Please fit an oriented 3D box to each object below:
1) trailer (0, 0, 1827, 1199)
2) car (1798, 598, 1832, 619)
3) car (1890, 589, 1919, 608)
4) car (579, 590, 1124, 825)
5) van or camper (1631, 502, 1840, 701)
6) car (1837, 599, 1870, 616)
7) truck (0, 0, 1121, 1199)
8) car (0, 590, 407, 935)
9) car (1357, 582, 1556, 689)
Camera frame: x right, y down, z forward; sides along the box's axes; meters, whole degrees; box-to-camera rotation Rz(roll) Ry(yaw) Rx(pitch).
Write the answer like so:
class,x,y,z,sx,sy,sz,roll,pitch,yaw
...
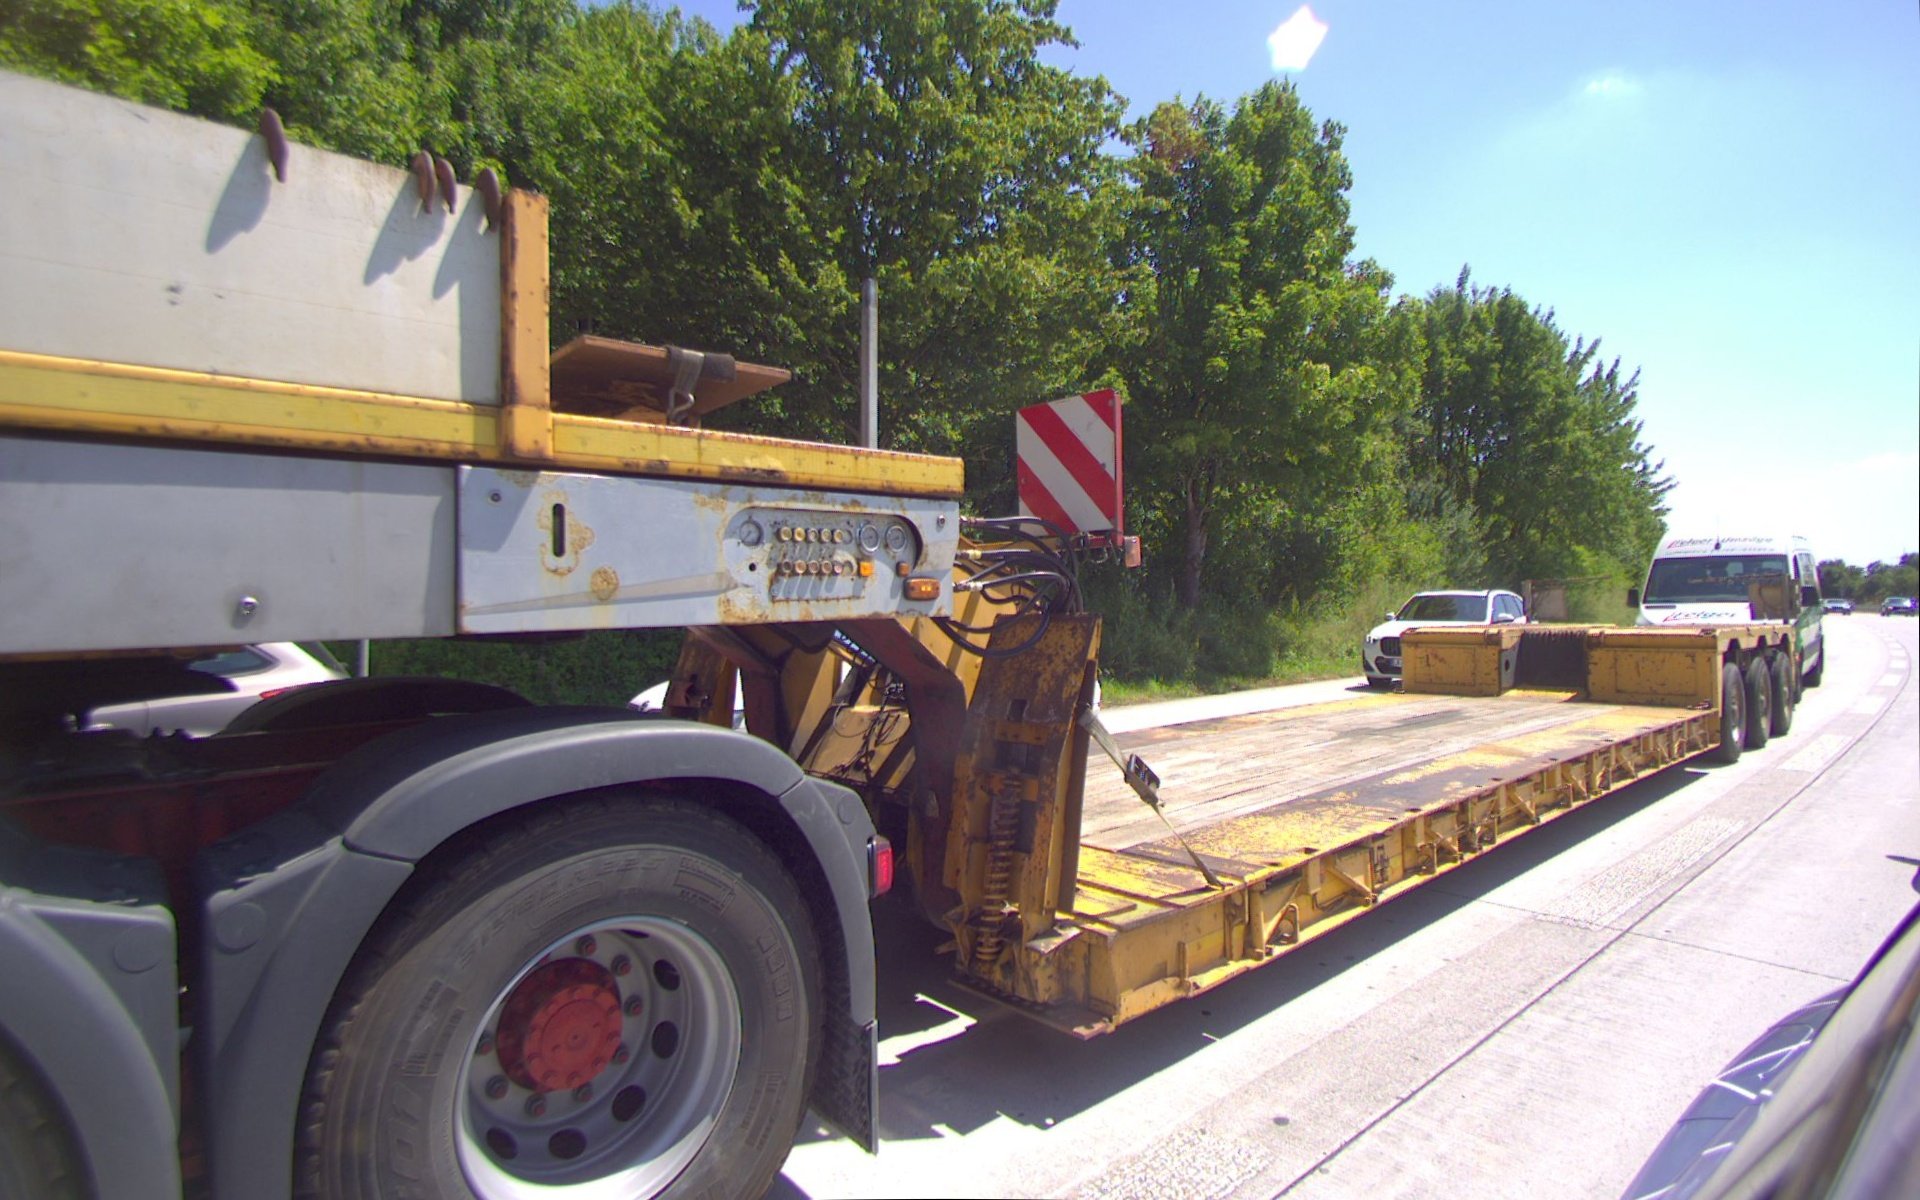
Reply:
class,x,y,z,sx,sy,sz,roll,pitch,yaw
trailer,2.613,0.071,6.876,16.077,2.626,3.031,0,0,-42
car,70.218,0.688,83.147,1.762,1.581,4.312,0,1,36
car,78.955,-0.149,84.339,1.697,1.482,3.948,0,1,36
car,-0.689,0.672,8.698,4.521,1.480,1.769,-1,1,-43
van or camper,12.466,-0.026,16.079,2.063,2.606,5.816,0,1,43
car,79.319,0.653,89.841,1.881,1.482,3.946,0,1,37
truck,-3.268,-0.494,1.512,7.342,3.820,3.017,-1,0,-42
car,-5.161,0.718,4.653,4.294,1.480,1.768,-1,1,-45
car,8.530,0.501,17.214,1.768,1.581,4.298,0,1,45
